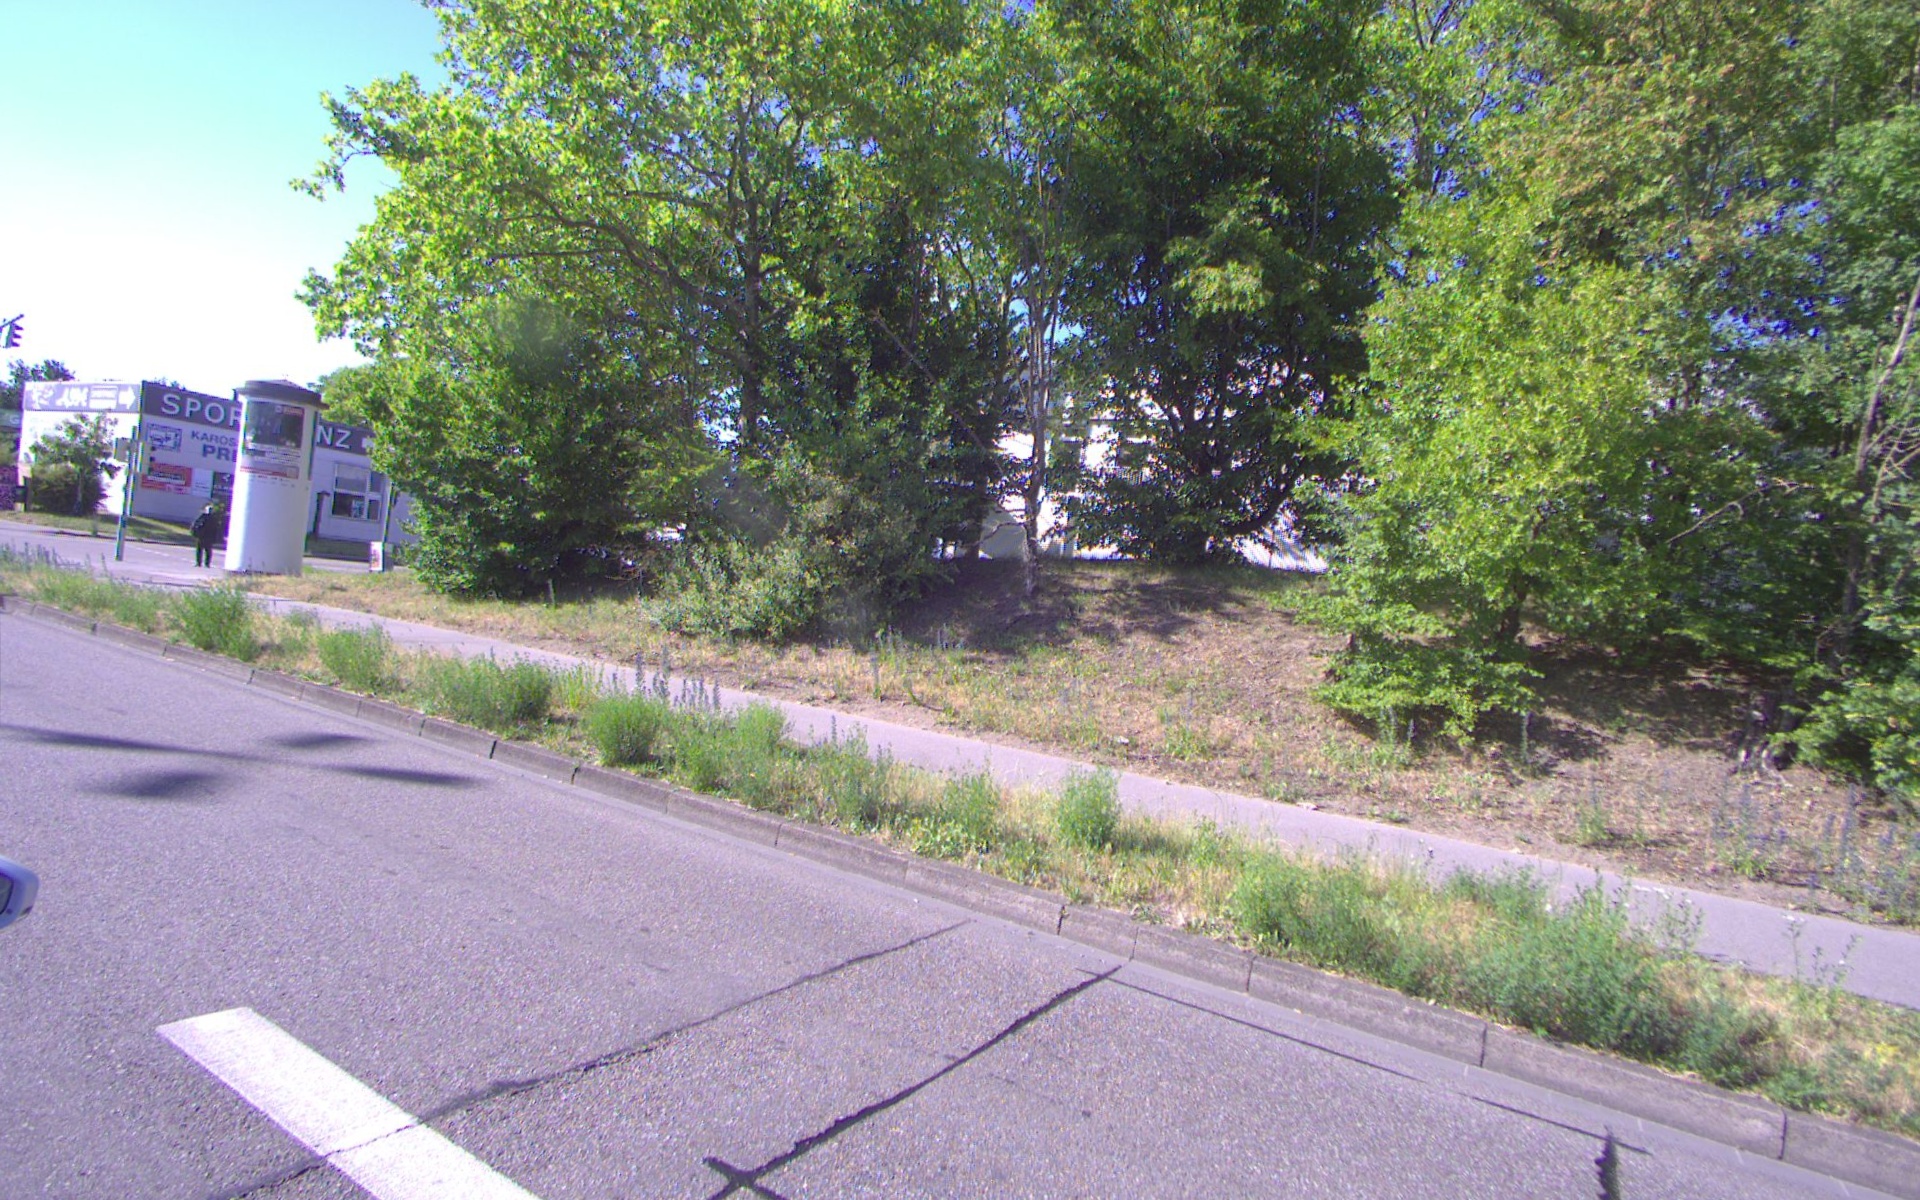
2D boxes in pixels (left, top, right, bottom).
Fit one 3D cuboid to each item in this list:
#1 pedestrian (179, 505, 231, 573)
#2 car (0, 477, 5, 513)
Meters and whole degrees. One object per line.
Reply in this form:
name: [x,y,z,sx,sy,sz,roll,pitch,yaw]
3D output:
pedestrian: [-20.998,-1.697,27.970,0.841,1.743,0.822,7,0,39]
car: [-48.293,-5.352,47.687,1.663,1.726,4.003,7,-1,16]
